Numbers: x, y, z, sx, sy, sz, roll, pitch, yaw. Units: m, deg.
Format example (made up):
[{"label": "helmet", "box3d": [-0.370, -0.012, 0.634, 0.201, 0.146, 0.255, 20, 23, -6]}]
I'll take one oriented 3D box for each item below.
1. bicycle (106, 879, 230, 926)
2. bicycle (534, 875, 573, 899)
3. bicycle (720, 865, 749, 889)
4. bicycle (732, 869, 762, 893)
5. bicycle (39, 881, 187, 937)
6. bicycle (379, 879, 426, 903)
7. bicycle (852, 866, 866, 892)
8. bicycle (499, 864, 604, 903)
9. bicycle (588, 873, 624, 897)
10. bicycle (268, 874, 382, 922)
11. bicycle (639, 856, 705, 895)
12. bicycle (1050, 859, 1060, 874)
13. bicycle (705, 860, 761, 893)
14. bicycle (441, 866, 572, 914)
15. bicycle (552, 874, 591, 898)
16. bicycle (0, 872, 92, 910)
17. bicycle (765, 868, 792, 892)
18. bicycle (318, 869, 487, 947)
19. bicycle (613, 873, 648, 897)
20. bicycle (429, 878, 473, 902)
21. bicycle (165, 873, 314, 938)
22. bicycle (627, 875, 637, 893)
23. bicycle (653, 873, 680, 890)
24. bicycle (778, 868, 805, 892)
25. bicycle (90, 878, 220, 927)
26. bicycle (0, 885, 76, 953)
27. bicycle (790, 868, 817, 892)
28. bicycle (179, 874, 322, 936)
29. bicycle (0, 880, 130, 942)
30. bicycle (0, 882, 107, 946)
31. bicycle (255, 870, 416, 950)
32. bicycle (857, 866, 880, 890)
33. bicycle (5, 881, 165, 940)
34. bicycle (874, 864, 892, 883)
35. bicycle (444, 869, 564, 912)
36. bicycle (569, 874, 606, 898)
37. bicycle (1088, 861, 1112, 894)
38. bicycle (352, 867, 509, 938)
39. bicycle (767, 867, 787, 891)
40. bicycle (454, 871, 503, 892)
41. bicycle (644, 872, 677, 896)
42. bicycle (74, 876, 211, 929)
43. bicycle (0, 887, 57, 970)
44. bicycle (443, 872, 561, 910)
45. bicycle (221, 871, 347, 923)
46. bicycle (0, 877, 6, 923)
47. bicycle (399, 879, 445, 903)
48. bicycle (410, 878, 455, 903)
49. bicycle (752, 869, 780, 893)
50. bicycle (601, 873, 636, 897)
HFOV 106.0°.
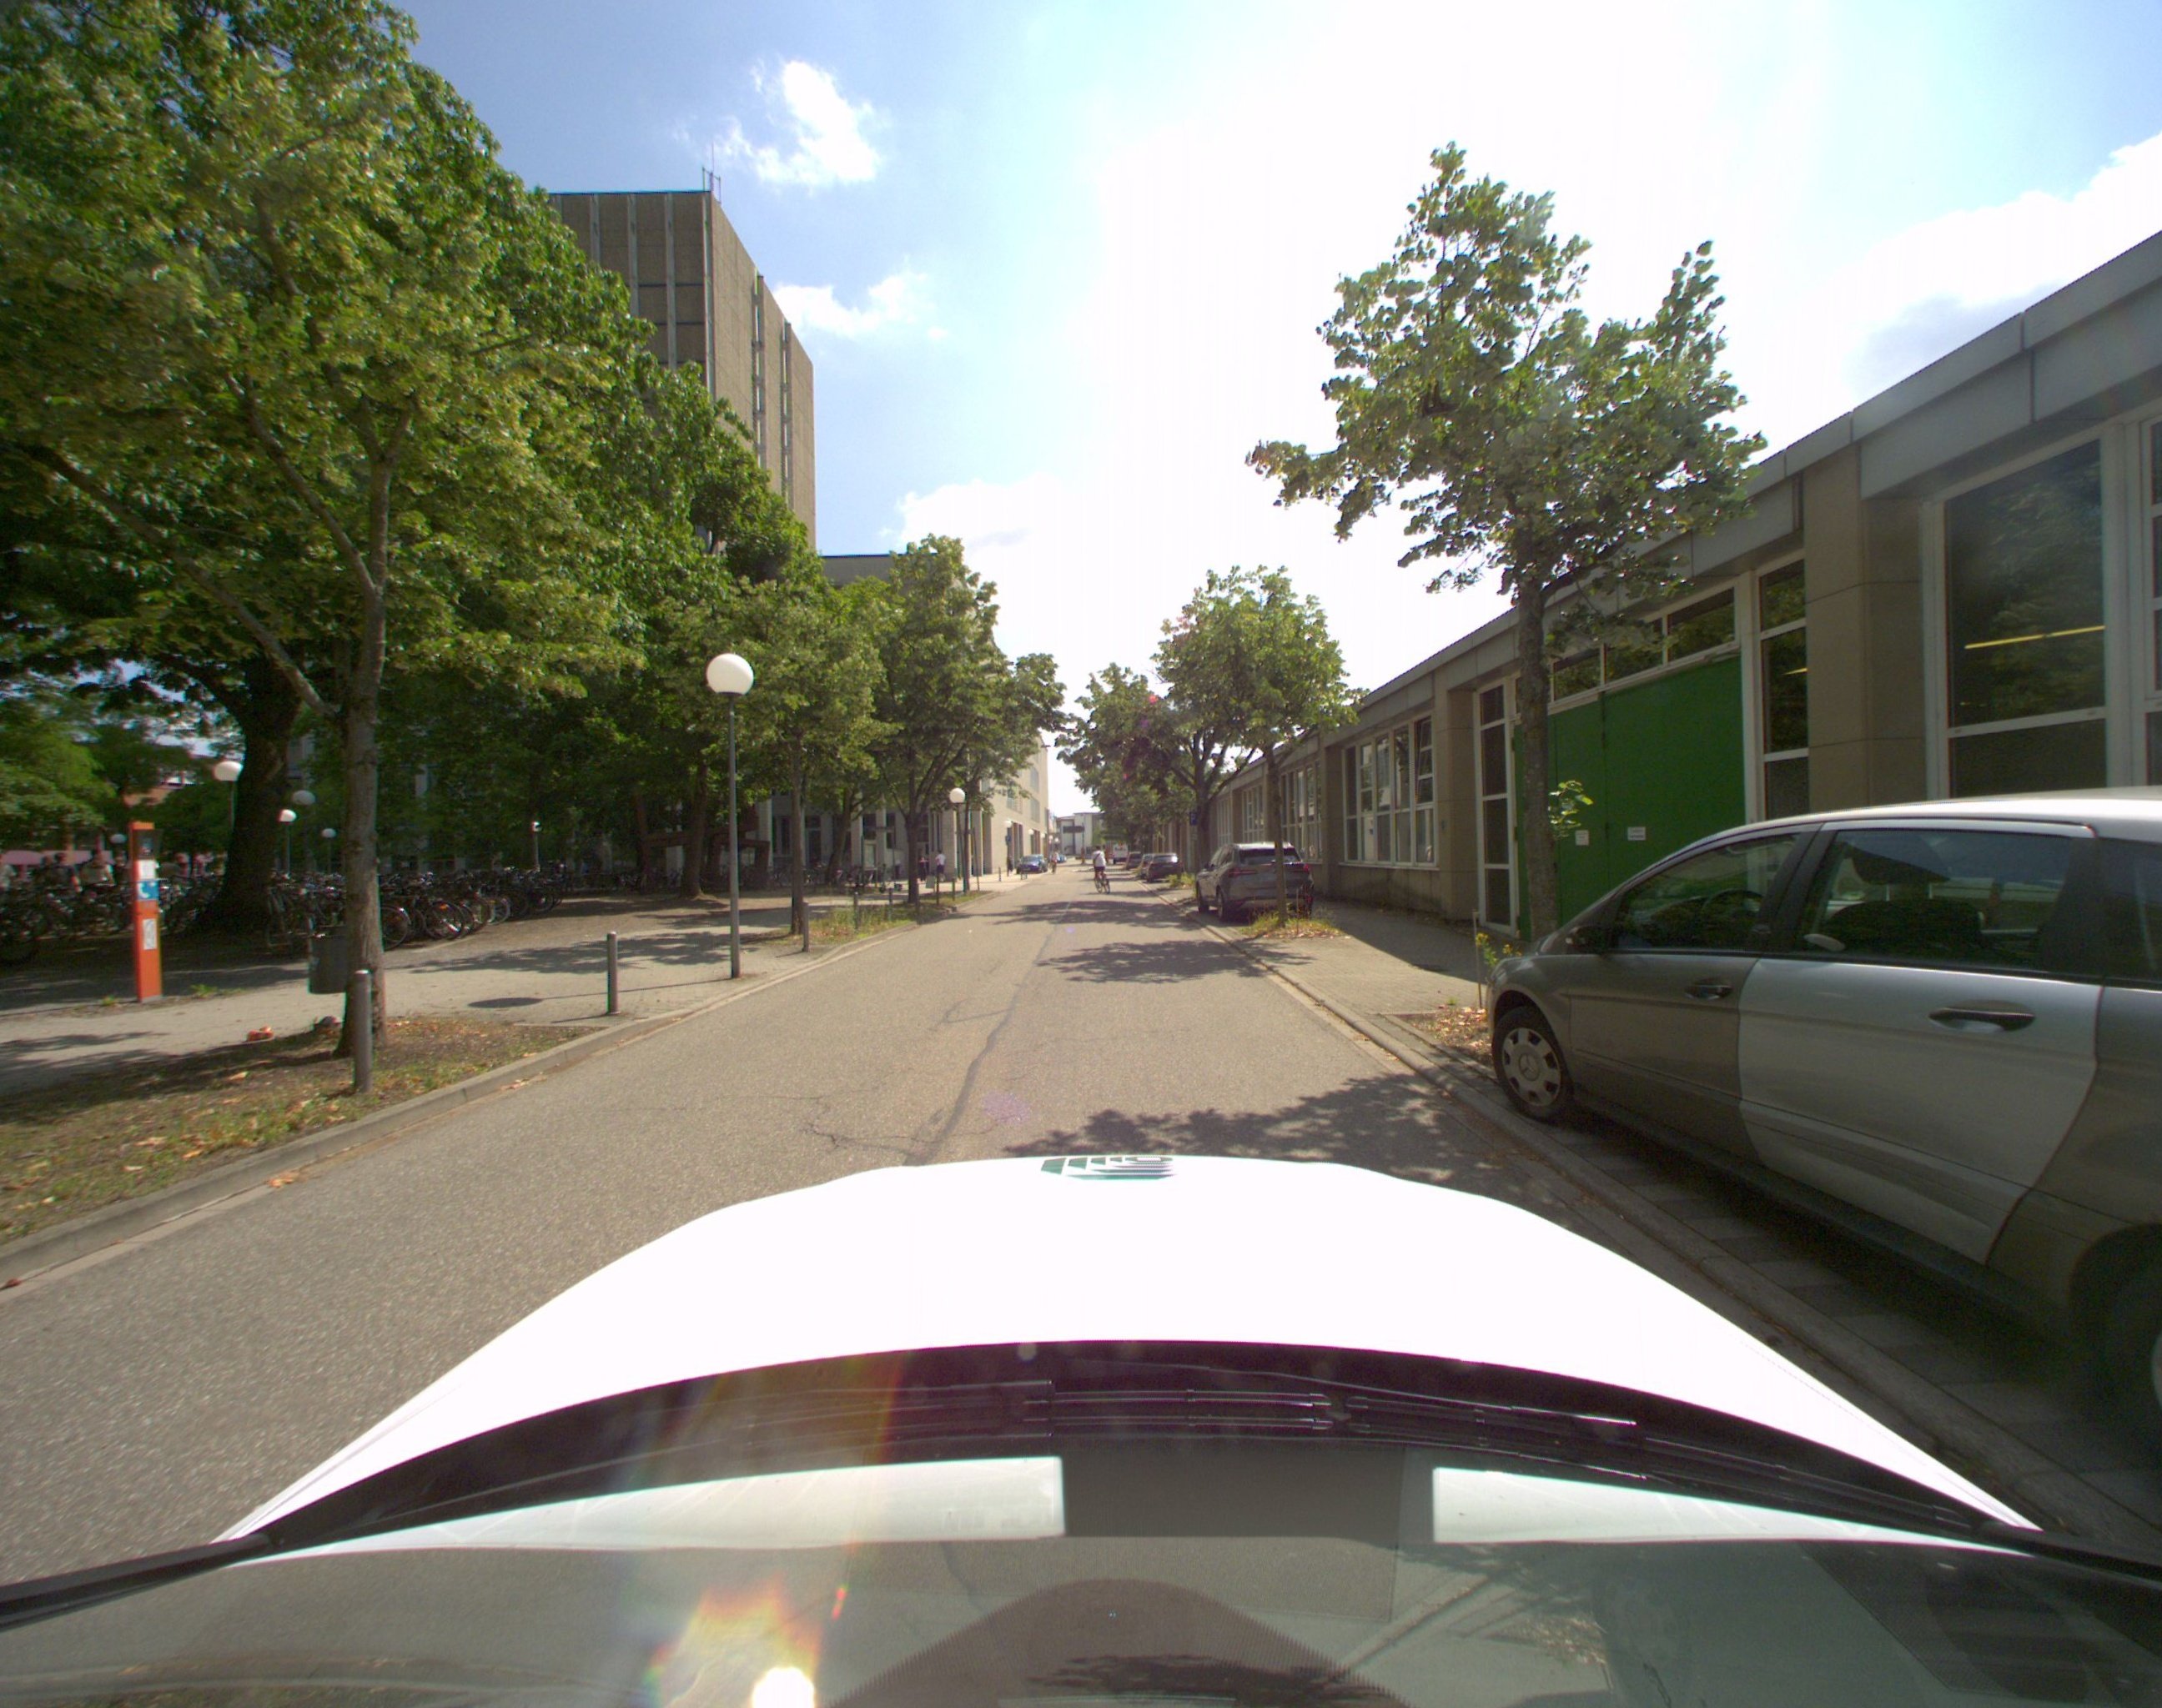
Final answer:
[{"label": "bicycle", "box3d": [-22.729, 1.184, 20.322, 1.972, 1.089, 0.542, 0, 0, -28]}, {"label": "bicycle", "box3d": [-25.195, 1.552, 38.931, 0.550, 1.086, 1.973, 0, 0, 1]}, {"label": "bicycle", "box3d": [-15.629, 1.028, 36.769, 0.473, 1.032, 1.851, -1, 0, 2]}, {"label": "bicycle", "box3d": [-16.075, 1.296, 39.213, 0.550, 1.086, 1.973, 0, 0, 1]}, {"label": "bicycle", "box3d": [-20.607, 1.141, 17.393, 1.972, 1.089, 0.542, 0, 0, -28]}, {"label": "bicycle", "box3d": [-32.740, 1.785, 39.314, 0.550, 1.086, 1.973, 0, 0, 1]}, {"label": "bicycle", "box3d": [-8.956, 1.000, 32.906, 0.382, 1.025, 1.808, -1, 0, -11]}, {"label": "bicycle", "box3d": [-19.298, 1.055, 29.748, 3.100, 1.297, 0.872, -1, 0, -42]}, {"label": "bicycle", "box3d": [-23.086, 1.515, 39.643, 0.550, 1.086, 1.973, 0, 0, 1]}, {"label": "bicycle", "box3d": [-19.417, 1.109, 20.982, 2.069, 1.132, 0.633, 0, 0, -34]}, {"label": "bicycle", "box3d": [-16.273, 0.843, 32.433, 2.299, 1.450, 0.601, -1, 0, -32]}, {"label": "bicycle", "box3d": [-2.031, 0.950, 63.614, 0.683, 1.130, 1.888, -2, 0, -1]}, {"label": "bicycle", "box3d": [-14.348, 0.924, 33.616, 2.028, 1.254, 0.581, -2, 0, -32]}, {"label": "bicycle", "box3d": [-16.111, 0.983, 22.897, 2.924, 1.220, 0.872, -1, 0, -42]}, {"label": "bicycle", "box3d": [-24.349, 1.528, 38.942, 0.550, 1.086, 1.973, 0, 0, 1]}, {"label": "bicycle", "box3d": [-29.741, 1.054, 23.156, 2.064, 1.035, 0.502, 0, 0, -23]}, {"label": "bicycle", "box3d": [-14.582, 1.255, 39.295, 0.550, 1.086, 1.973, 0, 0, 1]}, {"label": "bicycle", "box3d": [-11.570, 0.888, 13.965, 2.058, 1.234, 0.804, 0, 0, -17]}, {"label": "bicycle", "box3d": [-21.781, 1.468, 39.388, 0.550, 1.086, 1.973, 0, 0, 1]}, {"label": "bicycle", "box3d": [-30.582, 1.730, 39.564, 0.550, 1.086, 1.973, 0, 0, 1]}, {"label": "bicycle", "box3d": [-17.504, 1.034, 17.011, 2.069, 1.234, 0.633, -1, 0, -34]}, {"label": "bicycle", "box3d": [-20.108, 1.317, 36.455, 0.324, 0.763, 1.544, 0, 0, -32]}, {"label": "bicycle", "box3d": [-24.241, 1.606, 47.617, 0.523, 0.946, 1.994, -1, 0, 0]}, {"label": "bicycle", "box3d": [-13.975, 1.238, 39.317, 0.550, 1.086, 1.973, 0, 0, 1]}, {"label": "bicycle", "box3d": [-21.993, 1.132, 19.396, 1.972, 1.089, 0.542, 0, 0, -28]}, {"label": "bicycle", "box3d": [-18.370, 1.097, 13.634, 1.965, 1.089, 0.544, 0, 0, -16]}, {"label": "bicycle", "box3d": [-13.410, 1.224, 39.377, 0.550, 1.086, 1.973, 0, 0, 1]}, {"label": "bicycle", "box3d": [-17.868, 1.065, 17.600, 2.069, 1.234, 0.633, 0, 0, -34]}, {"label": "bicycle", "box3d": [-19.681, 1.077, 15.499, 1.972, 1.089, 0.542, 0, 0, -28]}, {"label": "bicycle", "box3d": [-18.898, 1.069, 14.537, 1.965, 1.089, 0.544, 0, 0, -16]}, {"label": "bicycle", "box3d": [-11.321, 0.835, 12.416, 1.777, 1.132, 0.456, -1, 0, -17]}, {"label": "bicycle", "box3d": [-10.212, 1.125, 39.196, 0.550, 1.086, 1.973, 0, 0, 1]}, {"label": "bicycle", "box3d": [-19.998, 1.113, 16.409, 1.972, 1.089, 0.542, 0, 0, -28]}, {"label": "bicycle", "box3d": [-11.585, 1.118, 47.714, 0.463, 1.014, 1.867, 0, 2, 5]}, {"label": "bicycle", "box3d": [-17.555, 1.071, 24.841, 2.899, 1.178, 0.872, -1, 0, -42]}, {"label": "bicycle", "box3d": [-23.676, 1.515, 39.123, 0.550, 1.086, 1.973, 0, 0, 1]}, {"label": "bicycle", "box3d": [0.775, 0.895, 31.833, 0.879, 1.199, 2.751, -1, 0, 2]}, {"label": "bicycle", "box3d": [-11.831, 0.867, 14.898, 2.058, 1.234, 0.804, 1, -1, -17]}, {"label": "bicycle", "box3d": [-12.978, 1.051, 34.771, 0.475, 0.965, 1.651, -1, 0, -10]}, {"label": "bicycle", "box3d": [-27.684, 1.254, 37.473, 0.548, 0.871, 2.646, -1, 0, -5]}, {"label": "bicycle", "box3d": [-20.300, 1.424, 39.361, 0.550, 1.086, 1.973, 0, 0, 1]}, {"label": "bicycle", "box3d": [-21.287, 1.083, 18.526, 1.972, 1.089, 0.542, 0, 0, -28]}, {"label": "bicycle", "box3d": [-15.315, 1.026, 10.979, 1.861, 1.089, 0.543, 0, 0, -20]}, {"label": "bicycle", "box3d": [-16.924, 1.052, 23.873, 2.748, 1.003, 0.872, -1, 0, -42]}, {"label": "bicycle", "box3d": [-19.148, 1.009, 19.628, 2.069, 1.158, 0.633, -1, 1, -34]}, {"label": "bicycle", "box3d": [-28.964, 1.205, 20.880, 1.795, 1.207, 0.422, 0, 0, -16]}, {"label": "bicycle", "box3d": [-31.995, 1.772, 39.577, 0.550, 1.086, 1.973, 0, 0, 1]}, {"label": "bicycle", "box3d": [-31.226, 1.739, 39.253, 0.550, 1.086, 1.973, 0, 0, 1]}, {"label": "bicycle", "box3d": [-15.229, 1.278, 39.428, 0.550, 1.086, 1.973, 0, 0, 1]}, {"label": "bicycle", "box3d": [-22.436, 1.492, 39.534, 0.550, 1.086, 1.973, 0, 0, 1]}]
